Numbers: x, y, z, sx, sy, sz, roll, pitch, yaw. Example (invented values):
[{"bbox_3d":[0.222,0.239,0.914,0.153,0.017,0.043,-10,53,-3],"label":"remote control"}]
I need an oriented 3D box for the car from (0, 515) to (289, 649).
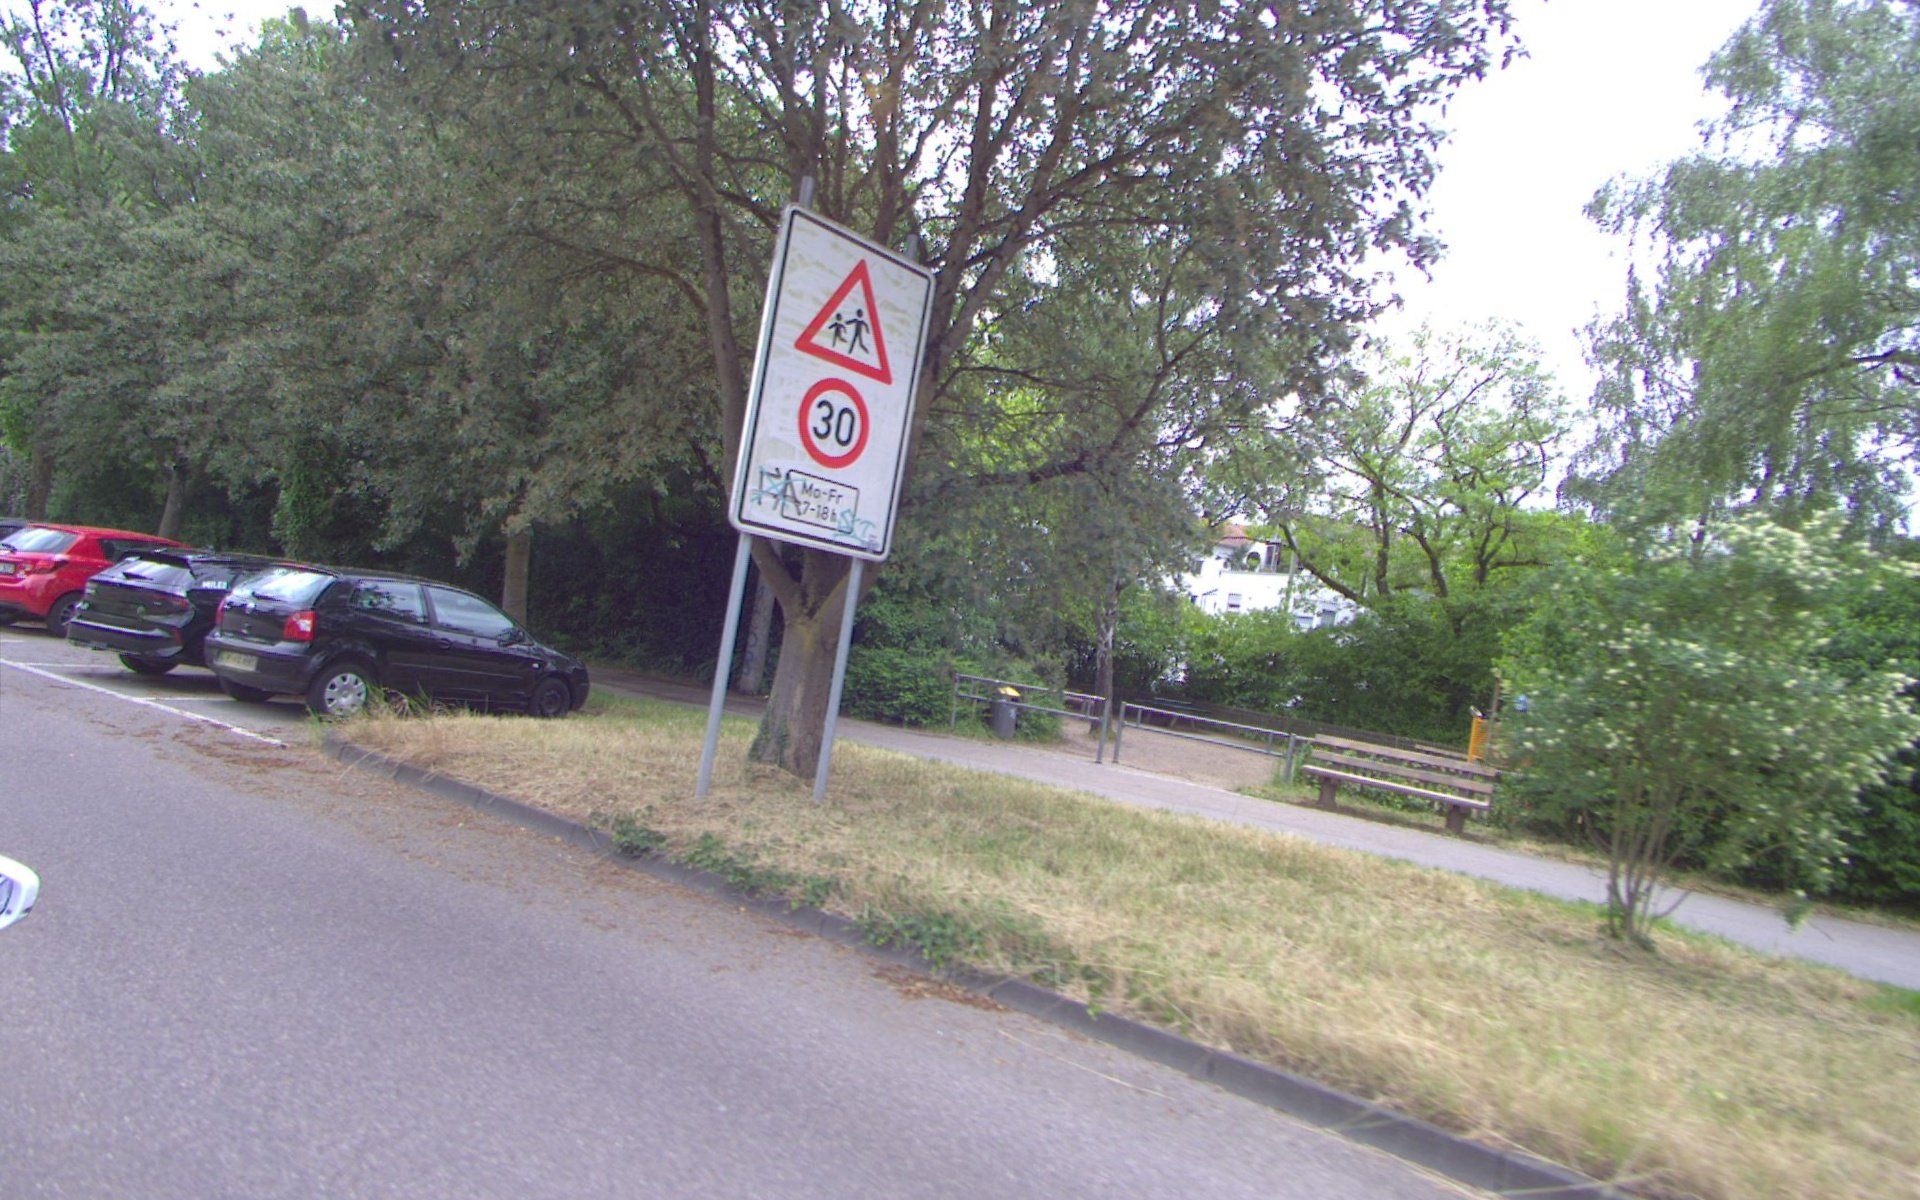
[{"bbox_3d":[-12.182,-0.207,14.792,1.562,1.492,3.541,7,-3,16],"label":"car"}]

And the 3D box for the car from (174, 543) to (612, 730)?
[{"bbox_3d":[-5.777,0.512,10.774,1.548,1.492,3.730,8,-3,26],"label":"car"}]

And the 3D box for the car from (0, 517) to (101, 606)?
[{"bbox_3d":[-18.359,-0.867,18.551,1.604,1.480,3.342,7,-3,18],"label":"car"}]

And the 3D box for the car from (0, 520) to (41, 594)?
[{"bbox_3d":[-20.472,-1.120,19.024,1.666,1.422,4.180,7,-3,17],"label":"car"}]

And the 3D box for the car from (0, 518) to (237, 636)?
[{"bbox_3d":[-14.289,-0.405,16.011,1.604,1.480,4.240,7,-3,19],"label":"car"}]

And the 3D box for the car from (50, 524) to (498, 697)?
[{"bbox_3d":[-7.689,0.274,11.847,1.547,1.492,4.156,7,-3,17],"label":"car"}]

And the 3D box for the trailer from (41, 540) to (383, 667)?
[{"bbox_3d":[-10.142,0.131,13.956,1.586,1.280,3.418,7,-3,19],"label":"trailer"}]
